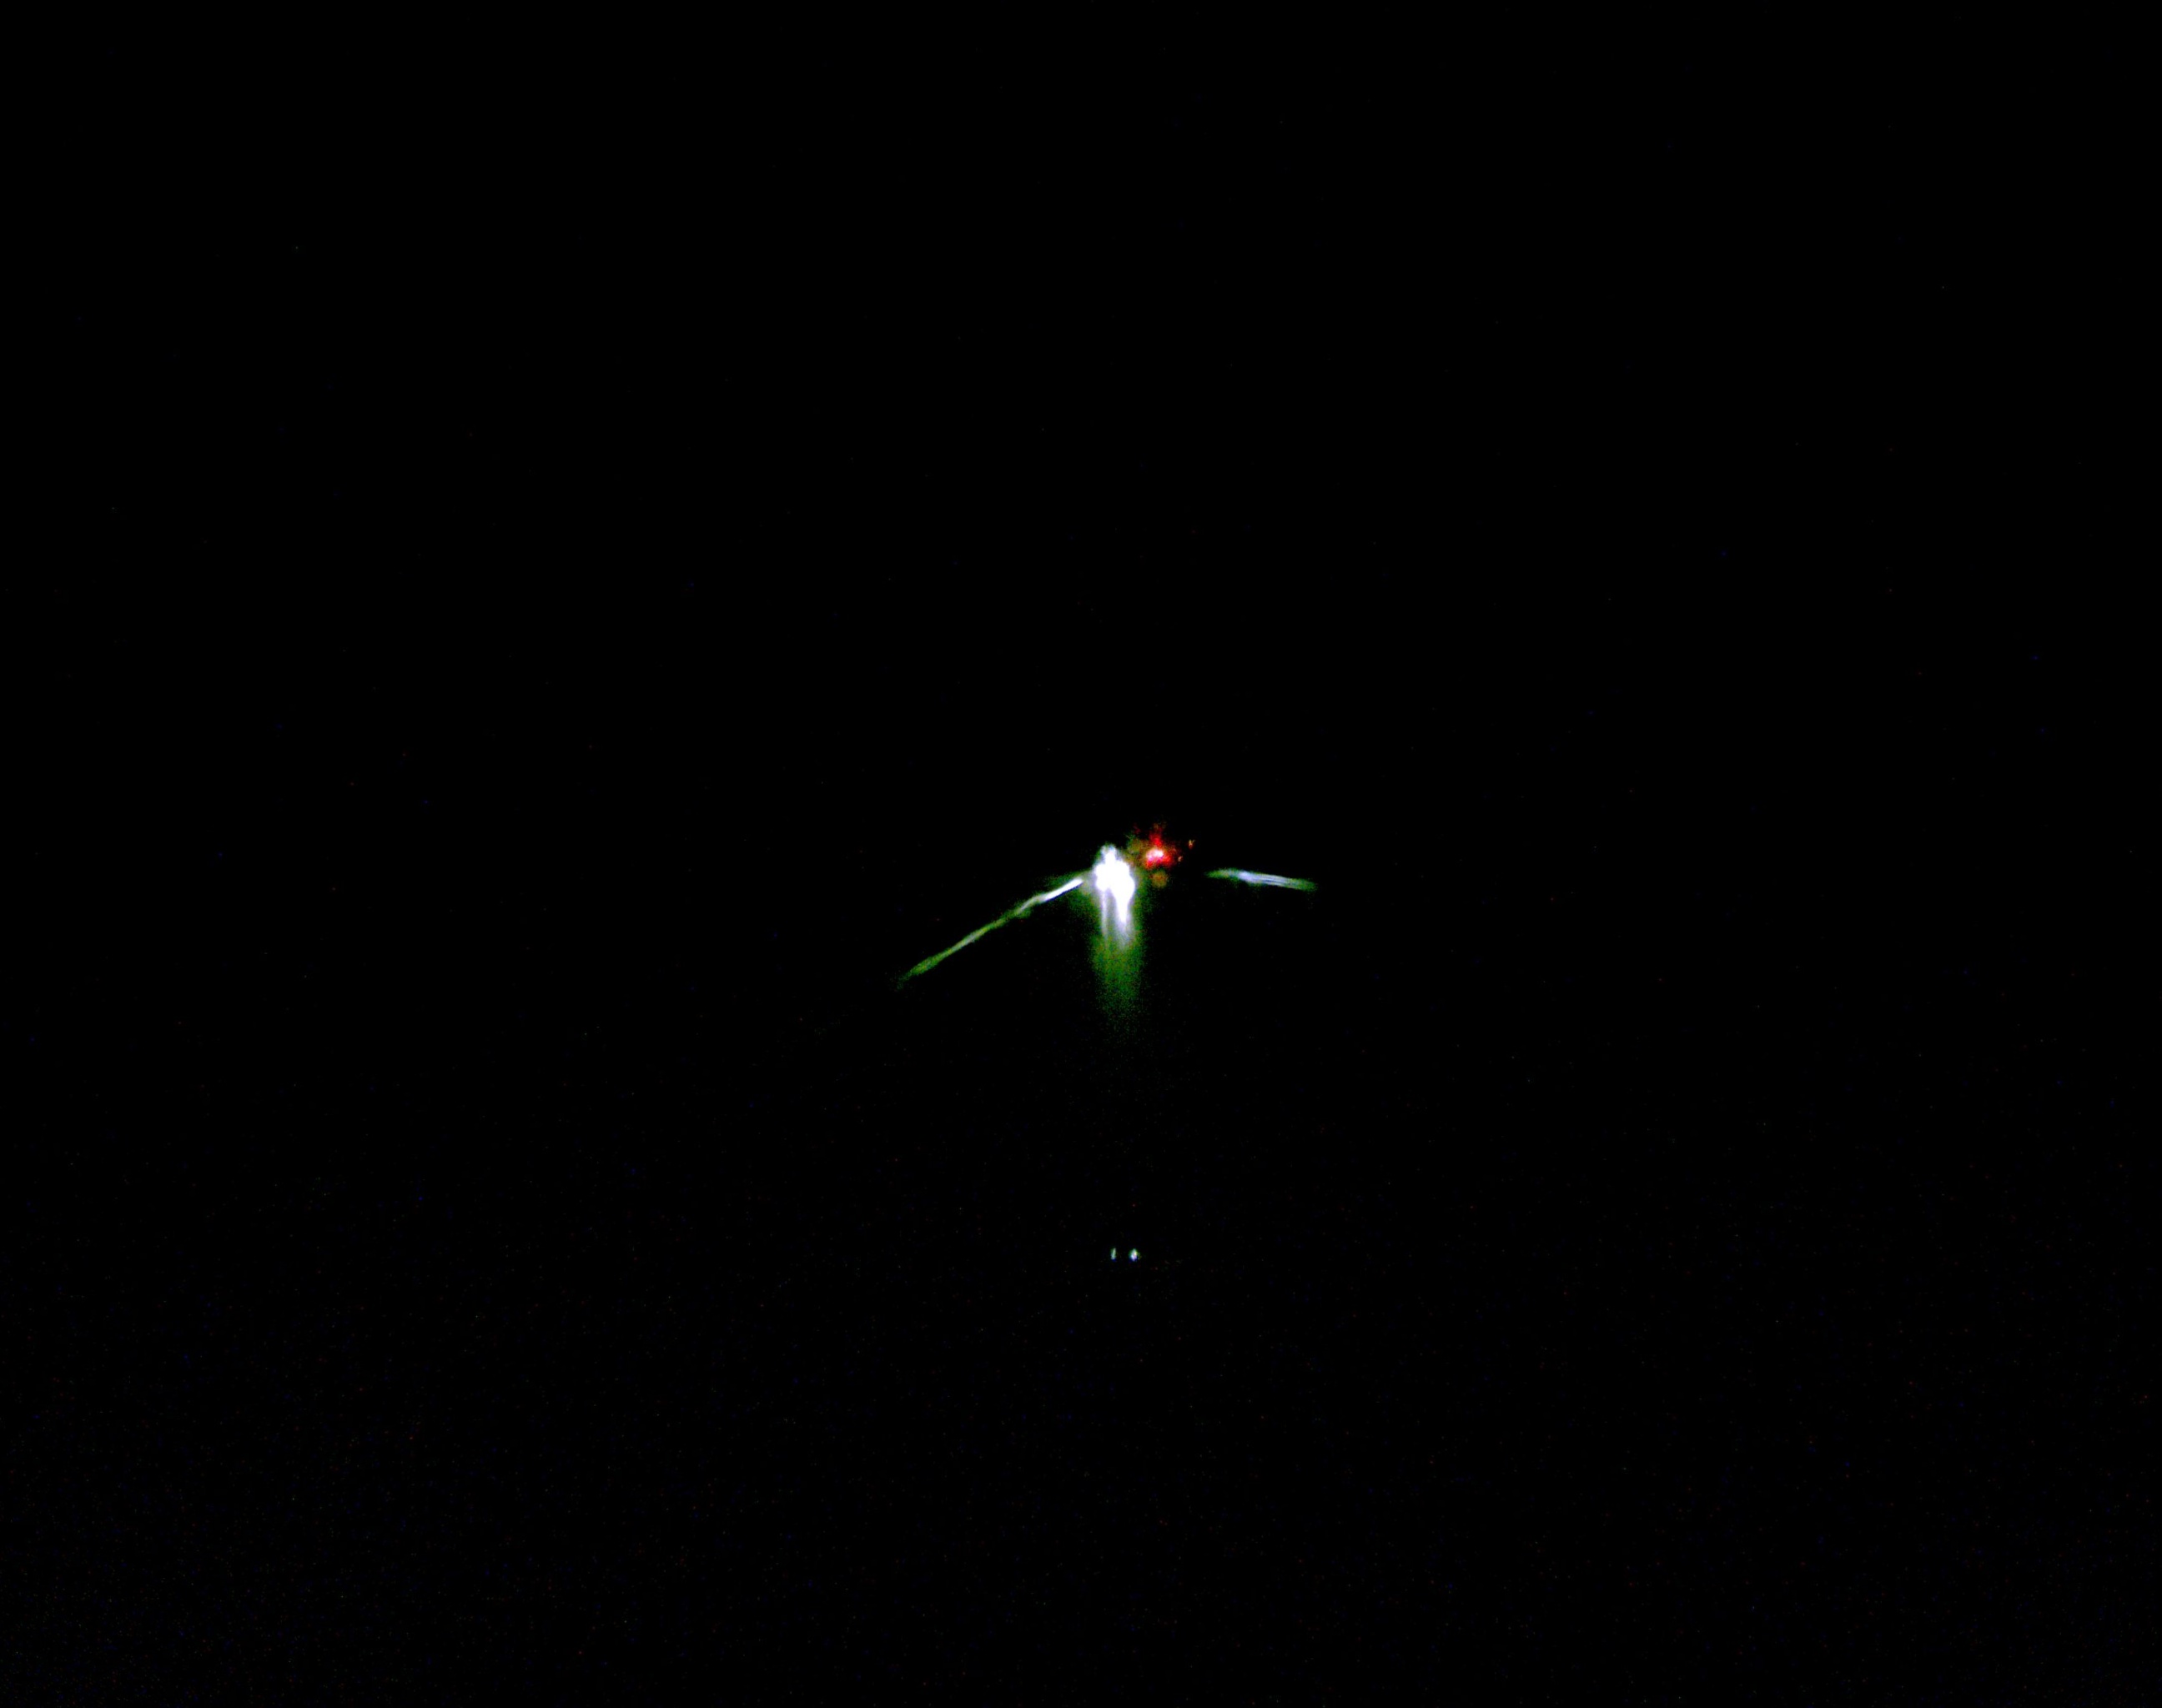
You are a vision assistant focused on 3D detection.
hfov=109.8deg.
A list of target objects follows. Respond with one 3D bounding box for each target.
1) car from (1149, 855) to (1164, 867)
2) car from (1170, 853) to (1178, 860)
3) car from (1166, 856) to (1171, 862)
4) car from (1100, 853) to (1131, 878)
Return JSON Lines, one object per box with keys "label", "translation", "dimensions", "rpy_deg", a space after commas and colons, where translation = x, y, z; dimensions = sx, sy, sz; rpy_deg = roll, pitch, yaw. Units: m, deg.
{"label": "car", "translation": [10.094, 0.942, 101.570], "dimensions": [1.859, 1.512, 4.683], "rpy_deg": [-2, 0, 6]}
{"label": "car", "translation": [20.866, 0.617, 170.613], "dimensions": [1.834, 1.545, 4.444], "rpy_deg": [-3, 0, 6]}
{"label": "car", "translation": [28.113, 1.562, 244.046], "dimensions": [1.789, 1.623, 4.428], "rpy_deg": [-2, 0, 6]}
{"label": "car", "translation": [2.745, 0.886, 59.763], "dimensions": [1.998, 1.804, 4.002], "rpy_deg": [-4, -1, 7]}
